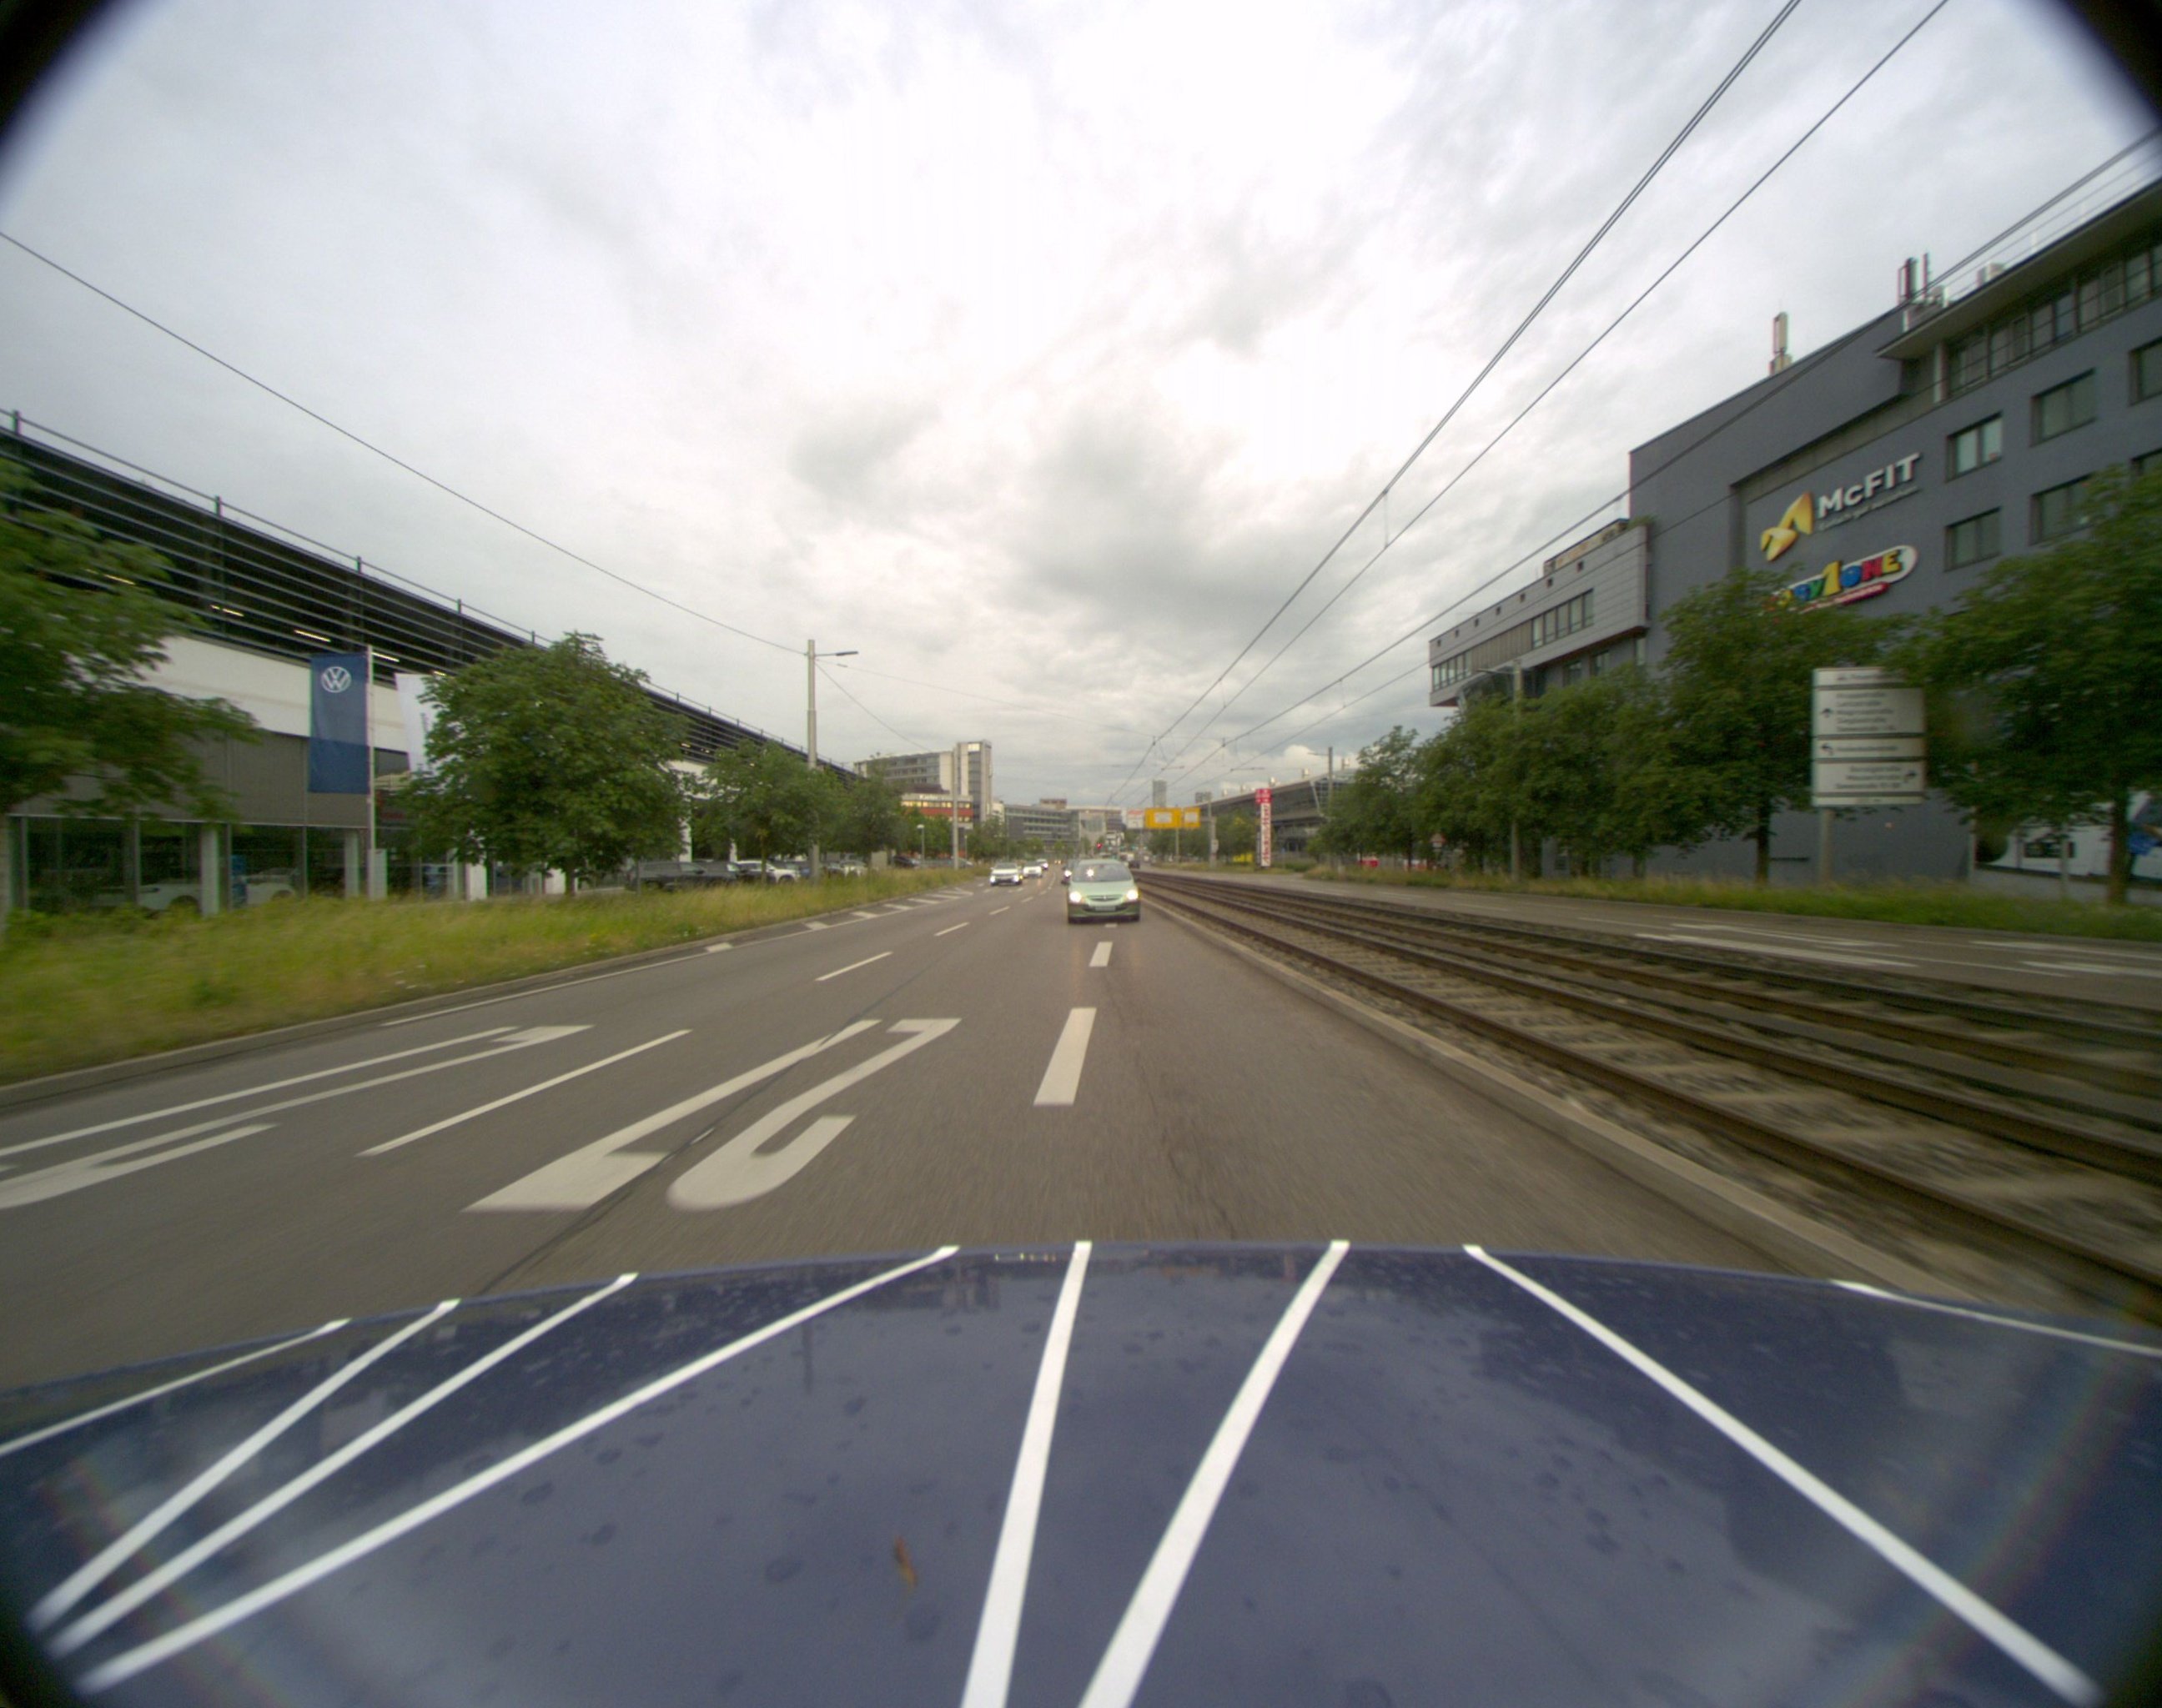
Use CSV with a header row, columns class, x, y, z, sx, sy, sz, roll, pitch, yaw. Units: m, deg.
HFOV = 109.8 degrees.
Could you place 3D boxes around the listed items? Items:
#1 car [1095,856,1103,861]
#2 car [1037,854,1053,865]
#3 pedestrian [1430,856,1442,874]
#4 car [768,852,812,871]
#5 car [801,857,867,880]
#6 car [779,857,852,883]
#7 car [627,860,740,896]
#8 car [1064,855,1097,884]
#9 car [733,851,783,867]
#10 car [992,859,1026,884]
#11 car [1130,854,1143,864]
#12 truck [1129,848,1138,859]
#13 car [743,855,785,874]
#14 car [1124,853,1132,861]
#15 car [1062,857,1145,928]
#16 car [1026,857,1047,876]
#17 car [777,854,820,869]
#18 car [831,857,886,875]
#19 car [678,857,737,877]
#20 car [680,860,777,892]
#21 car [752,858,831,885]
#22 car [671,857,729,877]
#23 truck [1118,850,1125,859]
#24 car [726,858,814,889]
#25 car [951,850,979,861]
class,x,y,z,sx,sy,sz,roll,pitch,yaw
car,4.611,1.138,192.220,1.807,1.420,4.235,0,0,-2
car,-5.440,0.843,115.237,1.889,1.584,3.982,-1,0,3
pedestrian,32.334,1.006,69.226,0.810,1.669,0.580,0,0,-12
car,-31.310,0.829,81.836,4.038,1.964,1.944,0,1,-3
car,-17.652,1.002,54.386,4.108,1.560,1.794,0,1,-38
car,-17.546,1.020,50.349,4.199,1.560,1.794,0,1,-43
car,-18.790,1.087,35.980,4.634,1.559,1.847,0,1,-32
car,-0.038,0.874,45.251,1.762,1.535,3.714,-3,0,-1
car,-30.598,0.457,72.034,3.998,1.416,1.763,0,0,-3
car,-4.694,1.106,49.708,1.879,1.485,3.836,-1,0,-1
car,9.691,0.855,132.773,1.999,1.725,4.212,1,-1,-1
truck,18.242,-0.164,263.460,2.734,3.339,7.149,1,2,1
car,-26.437,0.855,63.538,1.784,1.459,4.692,1,1,-3
car,10.918,0.698,177.447,1.602,1.528,2.949,2,2,-1
car,0.468,0.873,19.302,1.762,1.489,4.136,-3,0,-2
car,-4.068,1.125,69.705,1.819,1.584,3.835,-1,0,-1
car,-31.359,0.817,84.376,3.998,1.622,1.904,0,0,-3
car,-18.655,0.998,63.765,4.108,1.457,1.743,0,1,-35
car,-31.397,1.080,63.873,3.997,1.499,1.786,-3,1,0
car,-18.428,1.109,39.783,4.383,1.560,1.794,0,1,-33
car,-17.747,1.053,46.600,4.198,1.560,1.794,0,1,-37
car,-30.635,1.050,61.155,3.826,1.578,1.638,-1,1,-3
truck,12.265,0.213,231.553,2.244,2.550,7.015,-1,0,3
car,-17.745,1.097,43.408,4.362,1.617,1.851,0,1,-32
car,-20.393,0.236,133.545,4.505,1.980,1.818,1,0,-20
